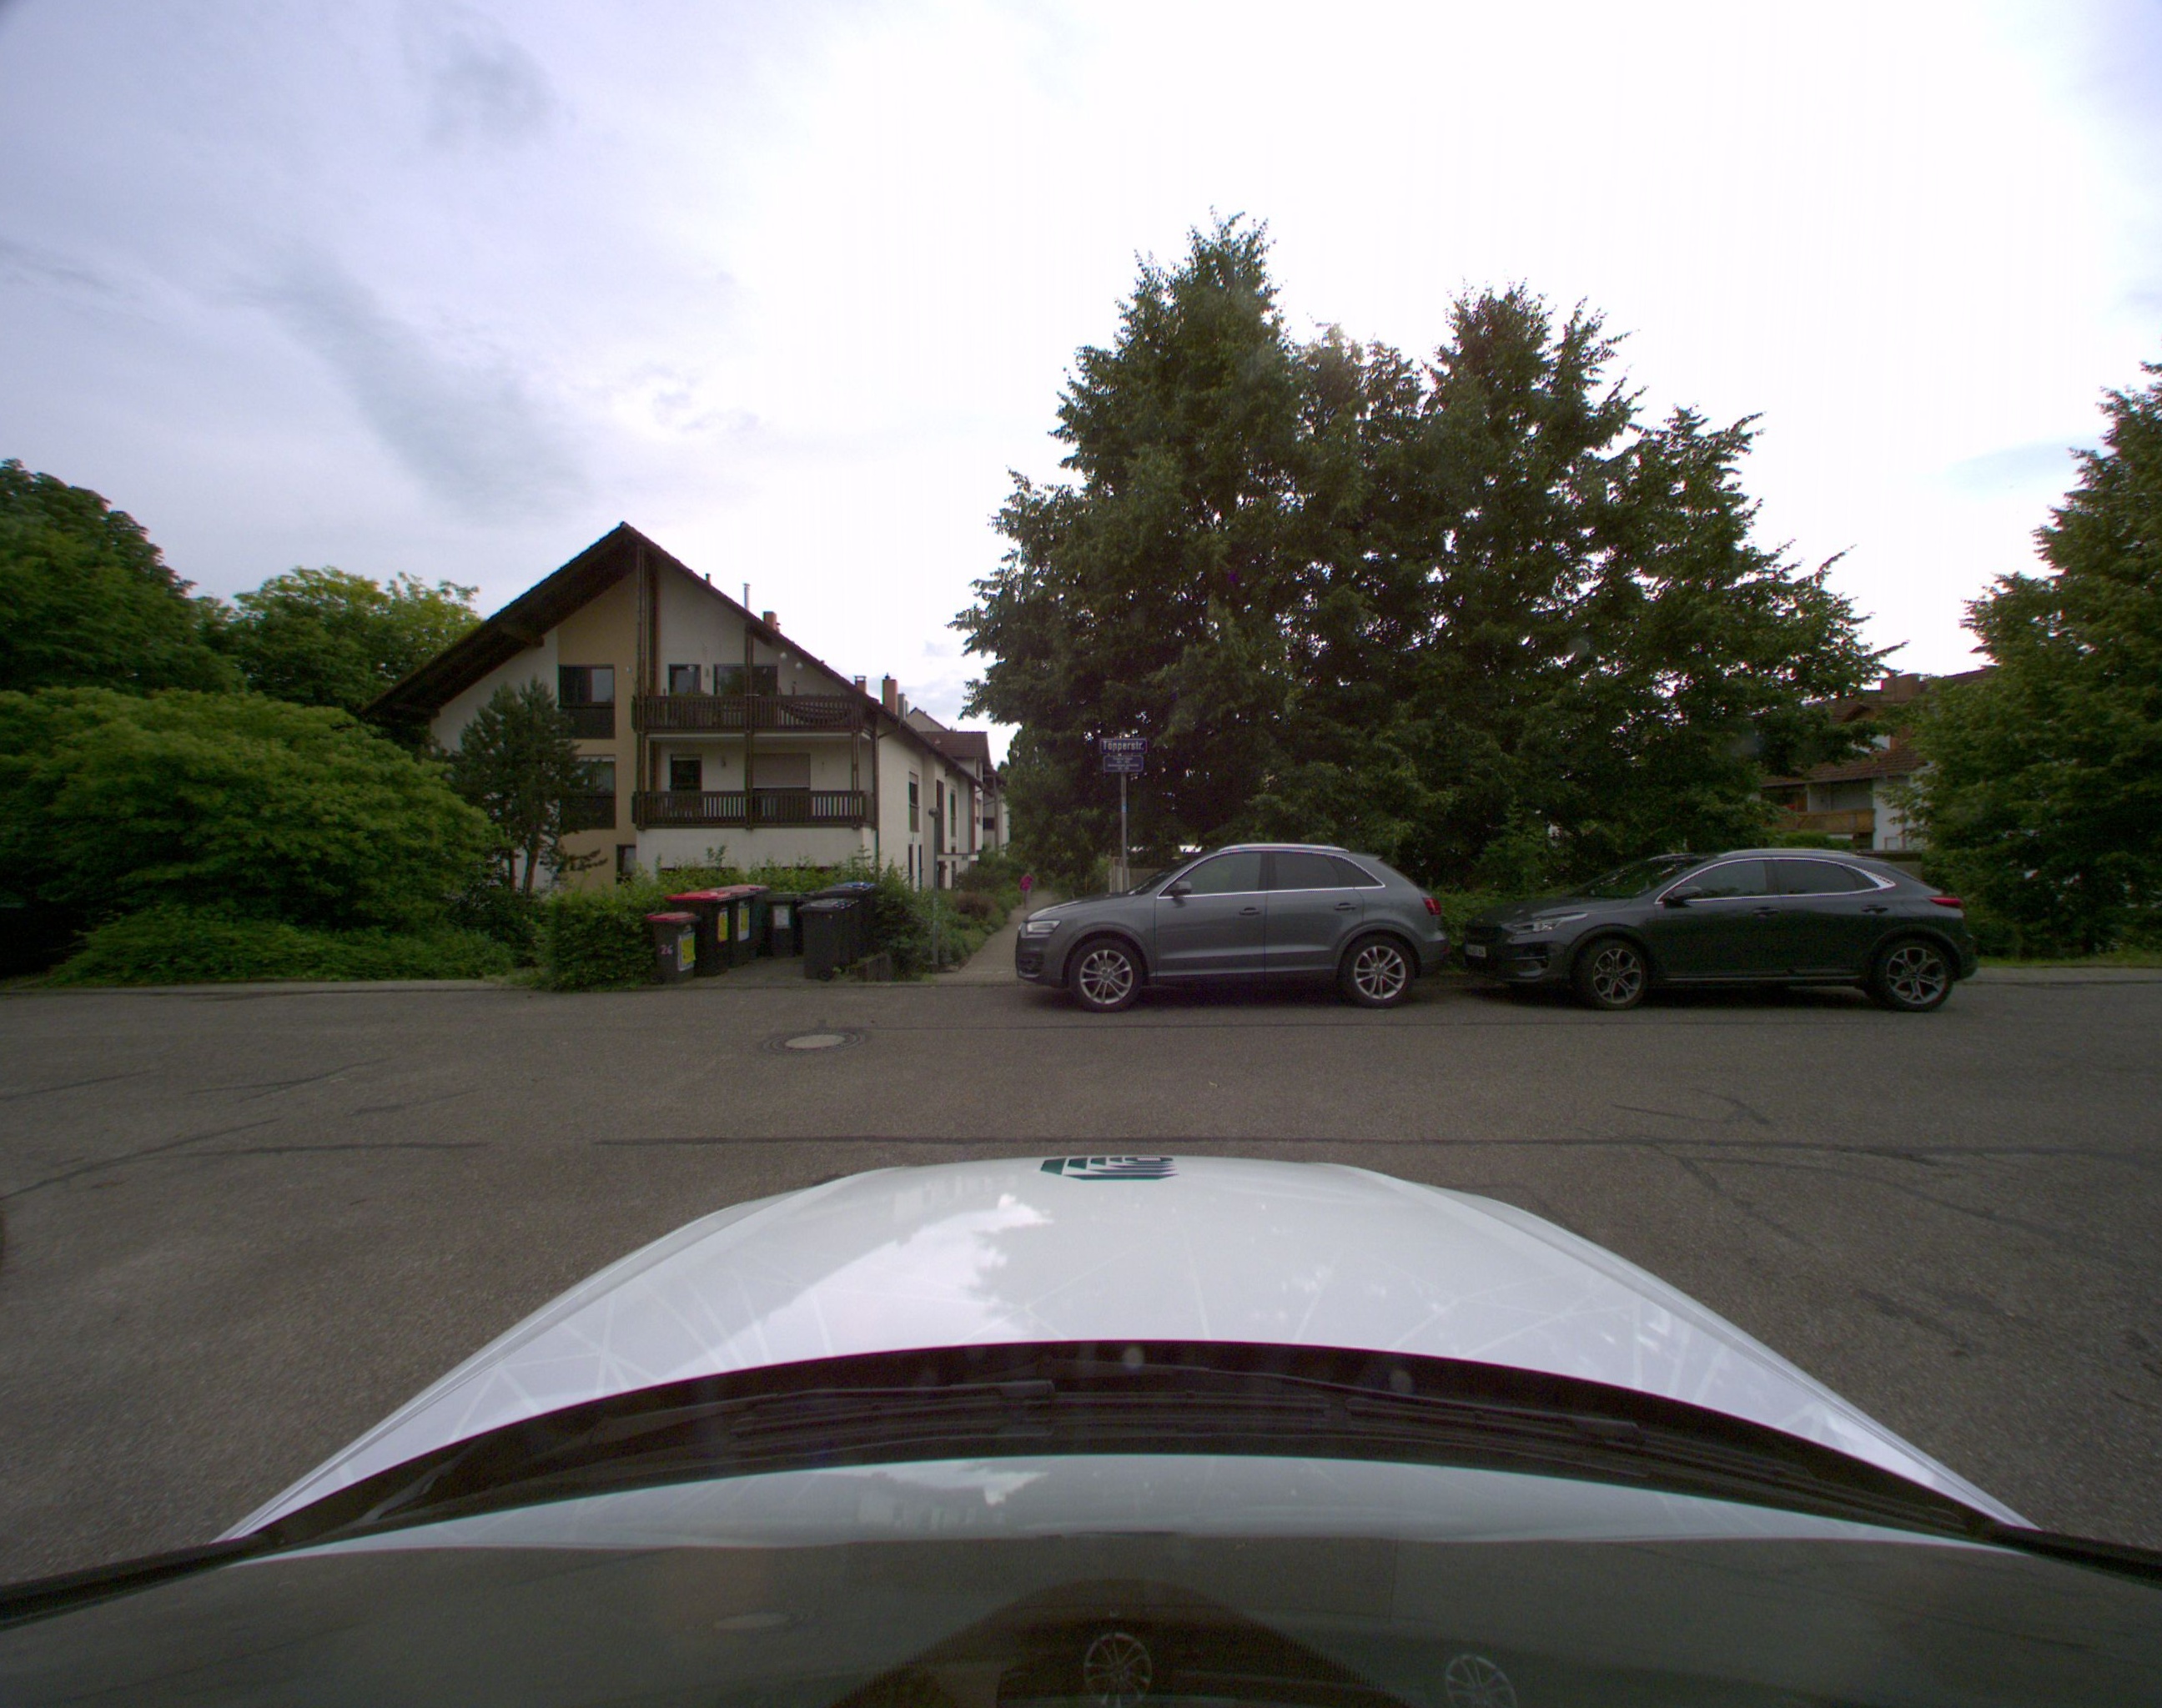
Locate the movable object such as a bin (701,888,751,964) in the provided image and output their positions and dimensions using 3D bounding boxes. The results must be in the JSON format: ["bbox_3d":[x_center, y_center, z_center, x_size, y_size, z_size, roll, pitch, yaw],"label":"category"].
[{"bbox_3d":[-4.847,0.976,11.127,0.536,0.994,0.337,0,0,-4],"label":"movable object such as a bin"}]

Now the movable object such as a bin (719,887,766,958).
[{"bbox_3d":[-4.853,0.973,11.697,0.536,0.994,0.337,0,0,-4],"label":"movable object such as a bin"}]

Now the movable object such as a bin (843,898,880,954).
[{"bbox_3d":[-3.264,1.067,12.143,0.458,0.797,0.379,0,0,-4],"label":"movable object such as a bin"}]

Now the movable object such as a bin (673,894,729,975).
[{"bbox_3d":[-4.849,1.013,10.399,0.536,0.994,0.379,0,0,-4],"label":"movable object such as a bin"}]

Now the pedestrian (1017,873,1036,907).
[{"bbox_3d":[-2.498,1.634,37.343,0.813,1.517,0.438,-1,-1,-4],"label":"pedestrian"}]

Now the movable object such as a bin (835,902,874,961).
[{"bbox_3d":[-3.256,1.109,11.717,0.458,0.797,0.379,0,0,-2],"label":"movable object such as a bin"}]

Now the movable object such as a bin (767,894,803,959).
[{"bbox_3d":[-4.285,1.039,11.793,0.385,0.901,0.379,0,0,-4],"label":"movable object such as a bin"}]

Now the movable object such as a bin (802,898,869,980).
[{"bbox_3d":[-3.087,1.053,10.279,0.636,0.953,0.722,0,0,-2],"label":"movable object such as a bin"}]

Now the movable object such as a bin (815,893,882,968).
[{"bbox_3d":[-3.127,1.024,10.993,0.731,0.953,0.584,0,0,-2],"label":"movable object such as a bin"}]

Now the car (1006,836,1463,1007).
[{"bbox_3d":[1.418,0.634,8.386,4.226,1.531,1.746,0,-2,-2],"label":"car"}]

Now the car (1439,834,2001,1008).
[{"bbox_3d":[6.055,0.630,8.155,4.163,1.531,1.749,-1,-2,3],"label":"car"}]

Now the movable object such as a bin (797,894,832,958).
[{"bbox_3d":[-3.861,1.034,11.812,0.385,0.889,0.379,0,0,-4],"label":"movable object such as a bin"}]

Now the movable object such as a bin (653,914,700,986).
[{"bbox_3d":[-4.958,1.165,9.989,0.385,0.836,0.379,0,0,-4],"label":"movable object such as a bin"}]

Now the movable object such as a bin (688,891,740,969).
[{"bbox_3d":[-4.851,0.995,10.775,0.536,0.994,0.337,0,0,-4],"label":"movable object such as a bin"}]

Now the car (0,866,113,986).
[{"bbox_3d":[-14.541,0.930,10.150,1.704,1.490,3.966,0,0,-26],"label":"car"}]
